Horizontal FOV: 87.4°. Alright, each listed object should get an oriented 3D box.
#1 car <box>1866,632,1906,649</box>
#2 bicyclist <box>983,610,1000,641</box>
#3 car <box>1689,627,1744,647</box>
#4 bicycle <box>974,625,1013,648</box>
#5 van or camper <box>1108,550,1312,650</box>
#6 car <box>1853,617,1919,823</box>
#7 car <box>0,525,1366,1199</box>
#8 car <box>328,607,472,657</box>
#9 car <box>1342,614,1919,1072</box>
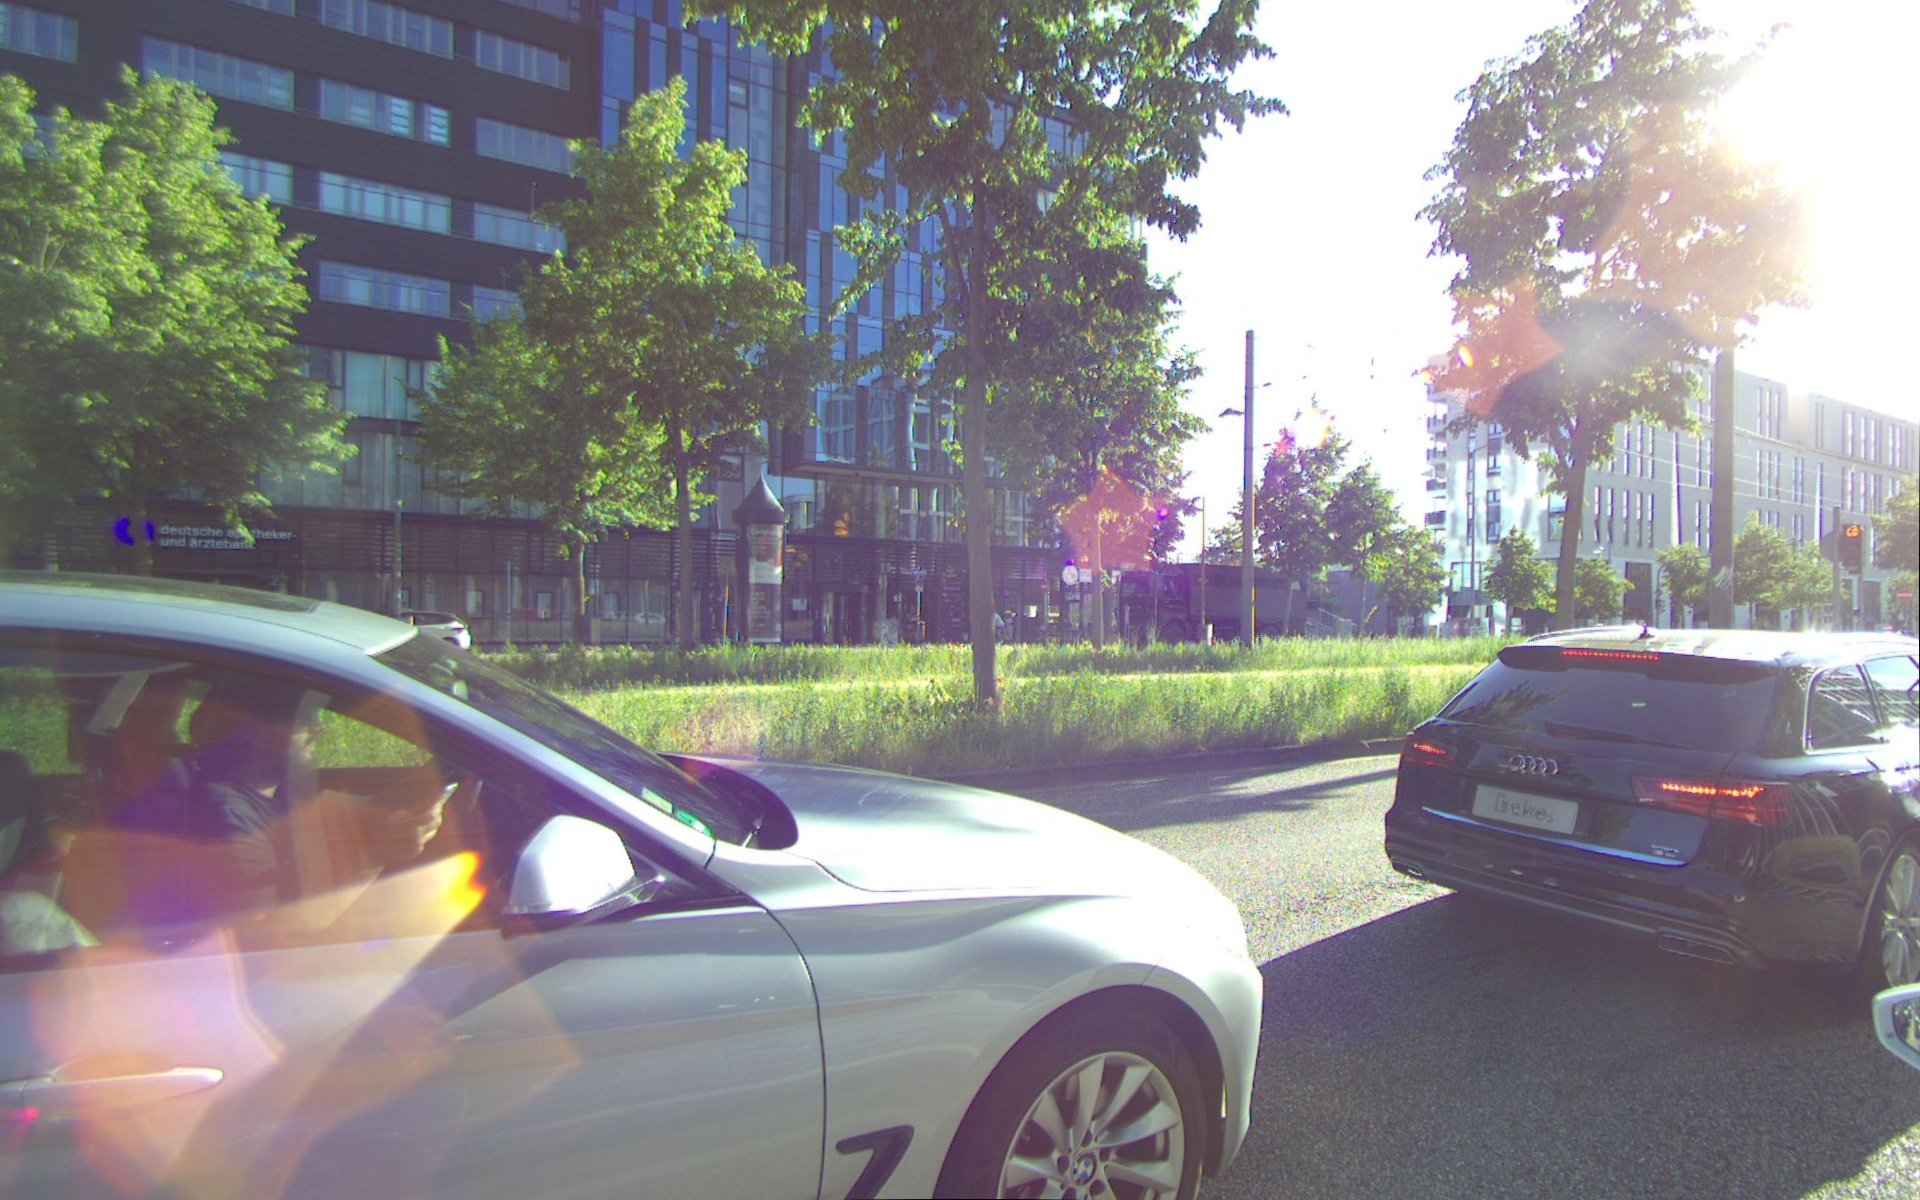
[{"bbox_3d":[79.417,3.494,86.141,3.669,1.360,1.572,2,-1,-31],"label":"car"},{"bbox_3d":[1.465,1.166,46.654,0.619,1.425,0.490,2,0,-30],"label":"bicyclist"},{"bbox_3d":[52.959,2.574,70.301,4.420,1.360,1.572,2,-1,-31],"label":"car"},{"bbox_3d":[1.561,1.716,46.739,1.826,1.047,0.525,2,0,-30],"label":"bicycle"},{"bbox_3d":[11.687,0.139,46.412,10.109,4.248,2.740,2,-1,-30],"label":"van or camper"},{"bbox_3d":[9.244,0.941,8.144,4.063,1.548,1.800,1,-1,-30],"label":"car"},{"bbox_3d":[-1.502,0.673,1.919,4.689,1.508,1.799,1,-1,-31],"label":"car"},{"bbox_3d":[-17.967,1.024,32.394,3.951,1.525,1.745,1,-1,-29],"label":"car"},{"bbox_3d":[4.209,0.848,5.206,4.455,1.476,1.799,1,-1,-31],"label":"car"}]
